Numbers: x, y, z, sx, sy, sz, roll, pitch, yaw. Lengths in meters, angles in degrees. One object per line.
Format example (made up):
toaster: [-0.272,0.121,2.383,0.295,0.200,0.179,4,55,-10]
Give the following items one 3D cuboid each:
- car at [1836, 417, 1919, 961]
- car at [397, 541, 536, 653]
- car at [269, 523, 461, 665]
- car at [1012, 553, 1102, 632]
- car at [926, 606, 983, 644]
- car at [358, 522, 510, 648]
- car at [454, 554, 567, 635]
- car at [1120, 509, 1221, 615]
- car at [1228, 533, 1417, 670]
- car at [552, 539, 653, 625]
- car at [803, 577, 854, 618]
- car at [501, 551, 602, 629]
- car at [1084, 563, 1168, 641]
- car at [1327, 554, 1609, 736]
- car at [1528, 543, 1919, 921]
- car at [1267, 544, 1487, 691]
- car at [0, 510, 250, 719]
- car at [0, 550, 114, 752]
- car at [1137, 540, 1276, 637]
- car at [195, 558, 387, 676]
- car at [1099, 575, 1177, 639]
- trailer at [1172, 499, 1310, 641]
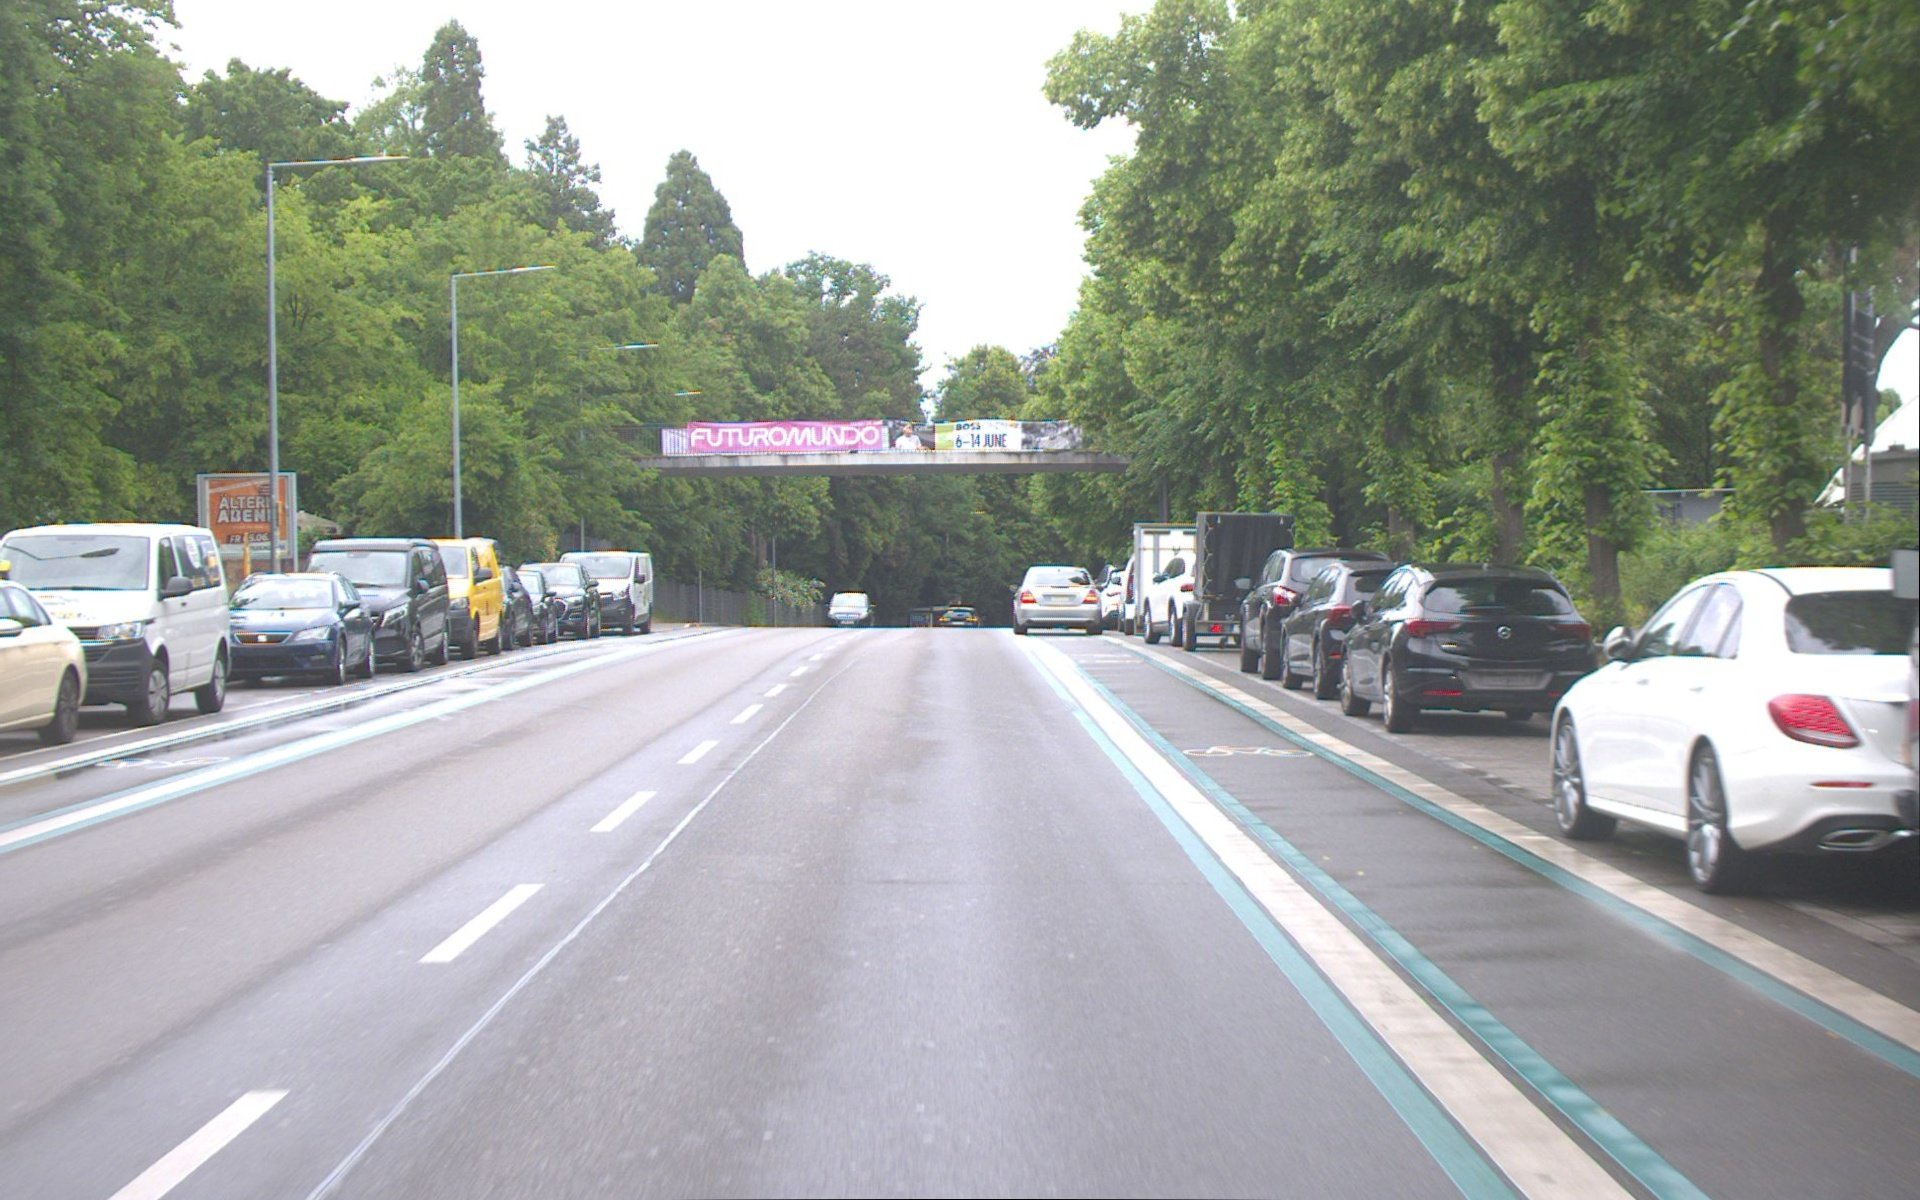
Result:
car: [4.525,0.355,11.631,1.926,2.015,4.664,0,1,0]
car: [-8.864,-0.084,62.030,1.990,1.886,4.055,-1,2,-1]
car: [-8.703,-0.145,50.685,1.990,1.939,5.142,-1,2,-1]
car: [2.007,-0.182,72.117,1.731,1.578,4.037,-1,1,-1]
car: [-0.261,1.070,146.620,2.140,1.487,4.499,0,1,-4]
car: [-8.657,-0.290,56.944,1.882,1.938,4.827,-1,2,-1]
car: [-8.801,-0.131,67.532,1.886,1.446,3.983,-1,2,-3]
car: [4.340,-0.799,71.385,1.889,2.120,4.045,-1,1,1]
car: [4.437,-0.011,42.583,1.731,1.578,4.155,1,1,-2]
car: [-8.381,-0.451,80.889,1.757,1.925,4.193,0,2,2]
car: [-5.001,-0.078,130.364,1.869,1.468,4.054,-1,-1,-3]
car: [-8.696,-0.243,73.450,1.870,1.536,4.055,-1,2,-3]
car: [3.714,0.026,77.517,1.731,1.678,4.045,-1,1,1]
car: [4.443,0.348,30.661,1.731,1.458,4.278,1,1,-2]
car: [4.127,0.514,16.545,1.789,1.537,4.890,1,1,-2]
car: [4.434,0.144,37.108,1.731,1.458,4.073,1,1,-2]
car: [-8.618,0.075,34.748,1.913,1.925,4.928,-1,2,-1]
car: [-8.698,0.414,28.594,1.990,1.600,4.985,-1,1,1]
car: [4.179,-0.232,58.899,1.731,1.578,4.155,-1,1,-5]
car: [-8.738,0.189,45.227,1.731,1.385,4.371,-1,2,-1]
car: [4.312,0.141,83.596,1.731,1.457,4.045,-1,1,1]
trailer: [4.445,-0.496,54.779,1.884,2.158,3.808,-1,1,0]
